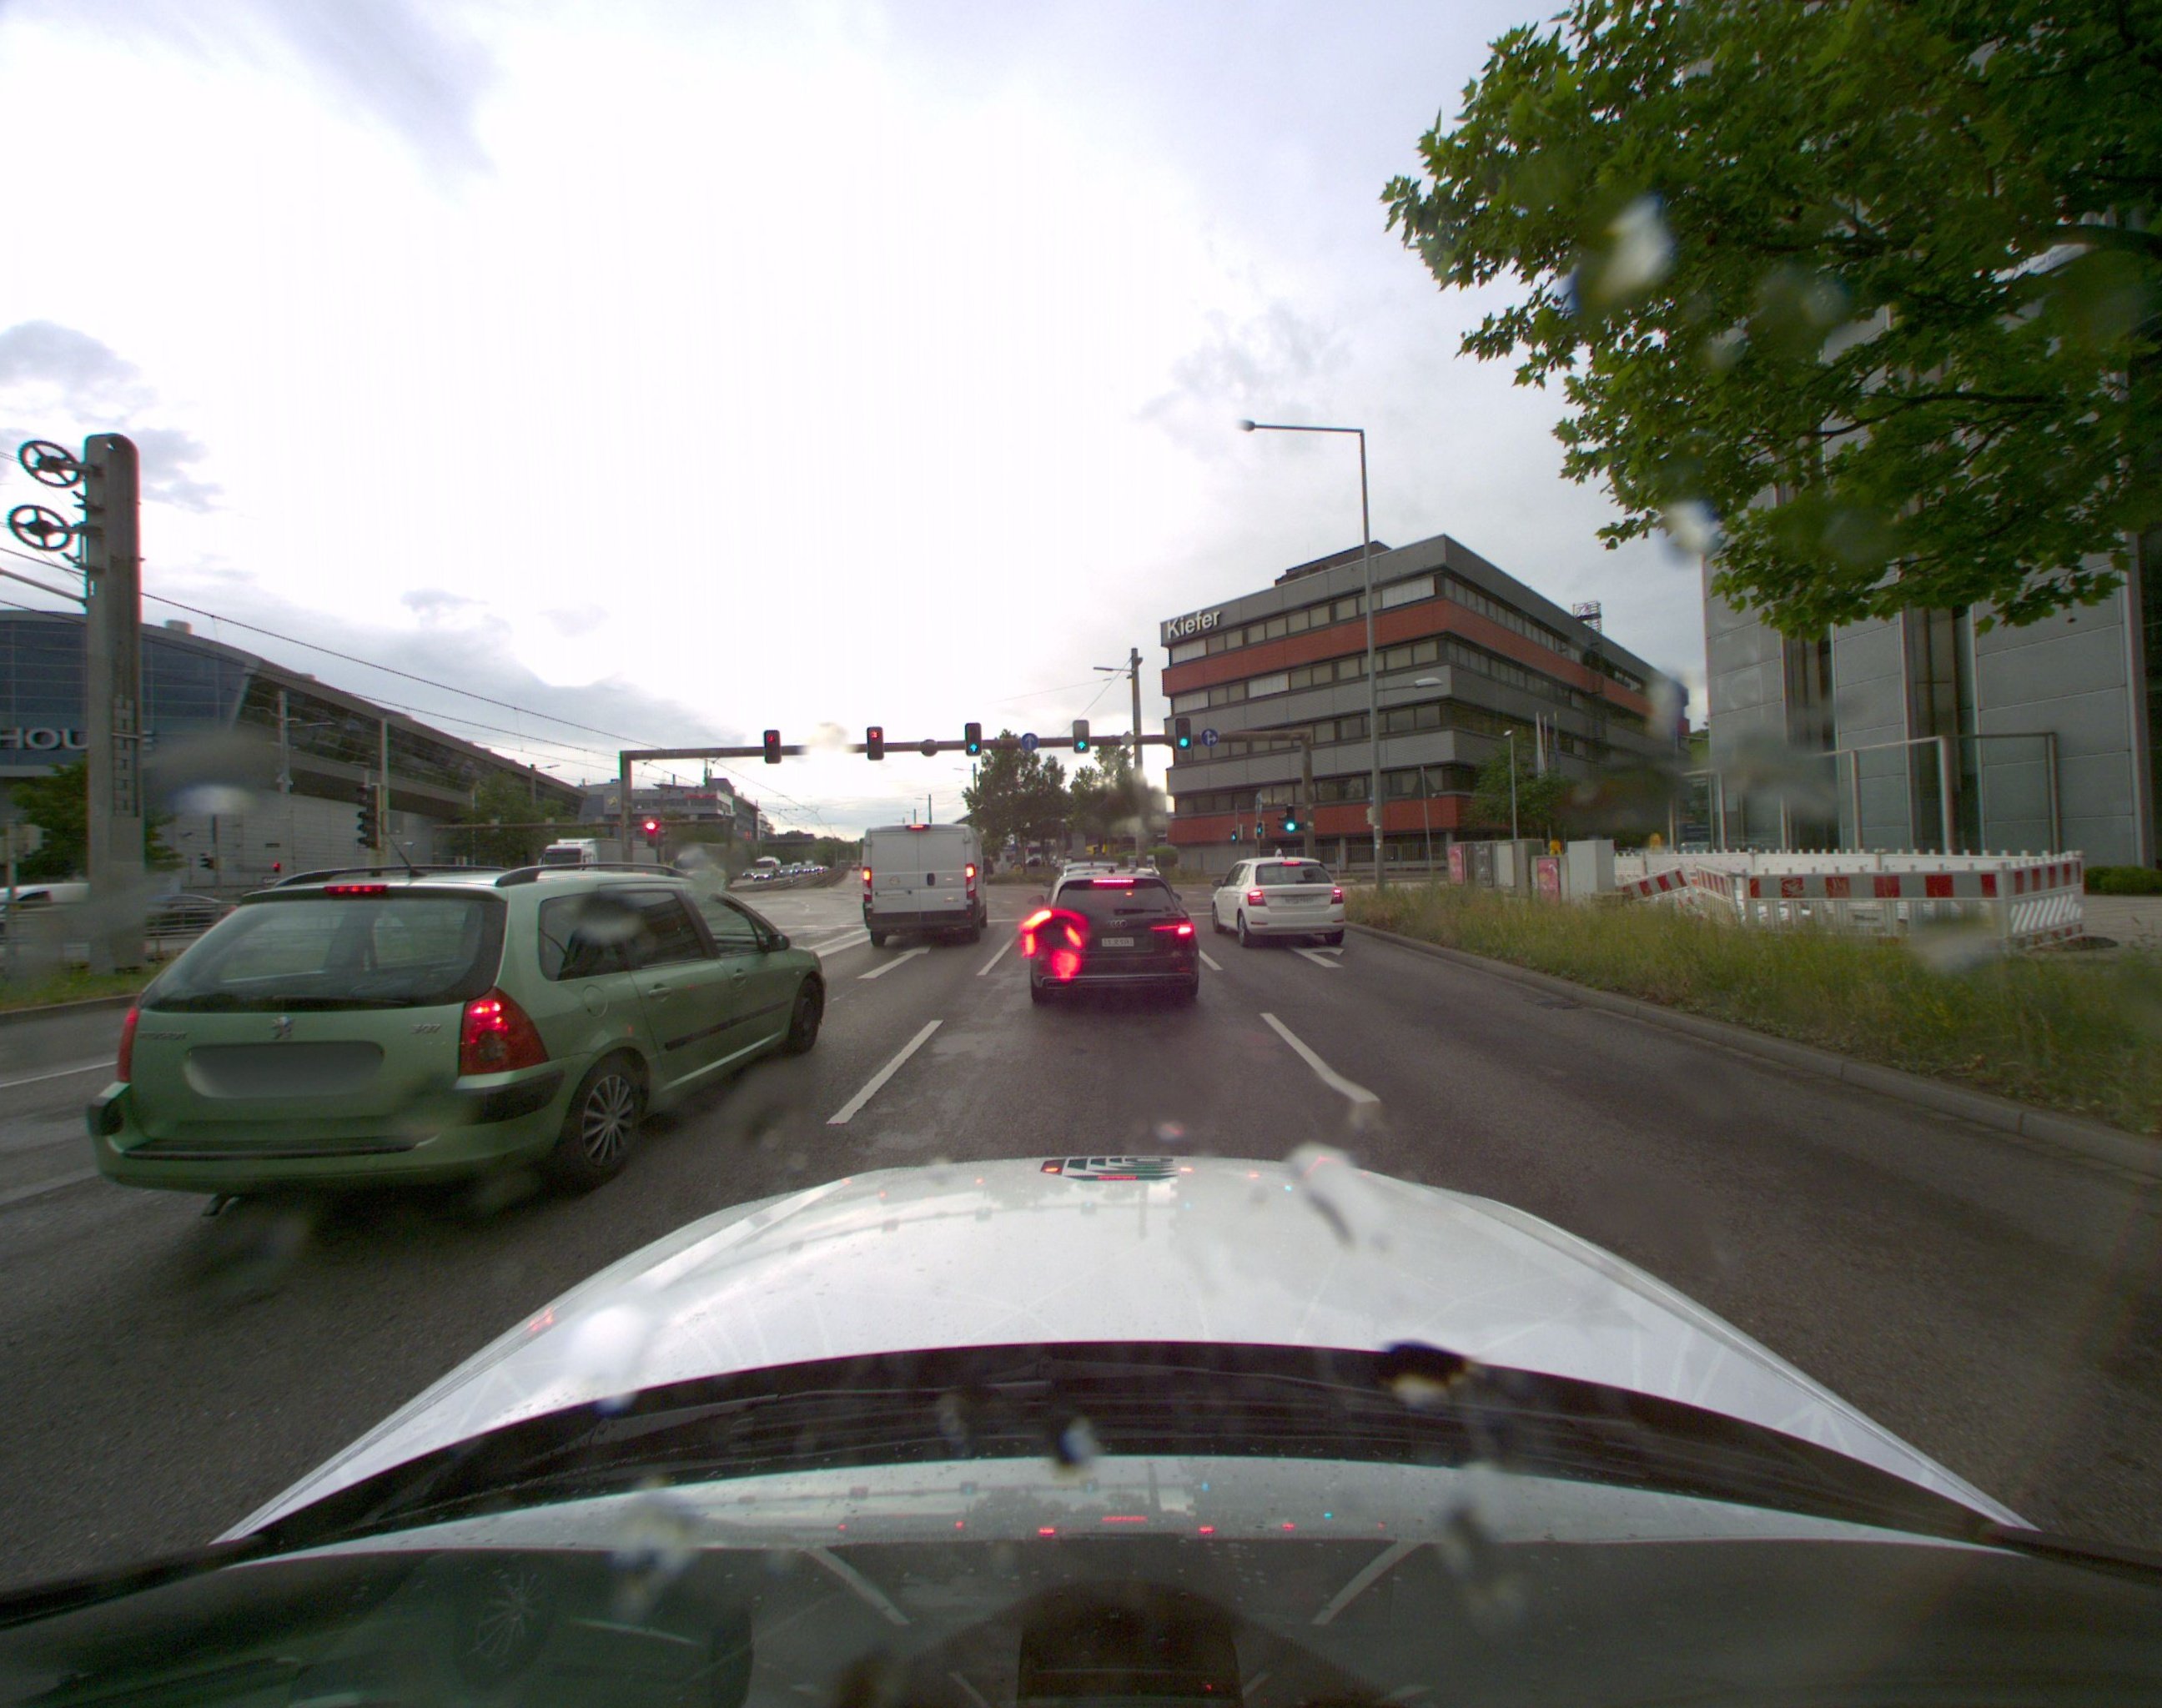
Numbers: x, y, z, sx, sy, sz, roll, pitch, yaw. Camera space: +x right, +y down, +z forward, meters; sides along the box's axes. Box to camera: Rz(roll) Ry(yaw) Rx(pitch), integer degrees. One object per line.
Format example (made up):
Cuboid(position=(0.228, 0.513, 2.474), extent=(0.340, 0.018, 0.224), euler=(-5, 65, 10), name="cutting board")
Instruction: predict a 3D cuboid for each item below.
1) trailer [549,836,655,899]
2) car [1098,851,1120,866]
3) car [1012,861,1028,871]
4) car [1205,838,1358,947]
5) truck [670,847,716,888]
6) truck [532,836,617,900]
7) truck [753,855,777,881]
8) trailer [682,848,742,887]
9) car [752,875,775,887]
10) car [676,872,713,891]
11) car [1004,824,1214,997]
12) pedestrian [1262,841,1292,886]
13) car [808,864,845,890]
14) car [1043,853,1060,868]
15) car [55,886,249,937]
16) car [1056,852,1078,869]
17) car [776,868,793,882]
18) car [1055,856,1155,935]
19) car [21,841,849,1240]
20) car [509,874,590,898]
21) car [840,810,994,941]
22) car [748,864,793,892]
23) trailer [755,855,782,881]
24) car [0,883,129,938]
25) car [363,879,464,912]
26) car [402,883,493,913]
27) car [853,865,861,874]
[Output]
Cuboid(position=(-35.036, 0.963, 60.246), extent=(2.795, 4.107, 11.402), euler=(-2, 0, -10), name="trailer")
Cuboid(position=(3.885, 0.597, 115.078), extent=(1.876, 2.014, 3.749), euler=(1, -2, -19), name="car")
Cuboid(position=(-10.085, 2.042, 134.522), extent=(1.795, 1.591, 3.977), euler=(-2, -1, -16), name="car")
Cuboid(position=(3.432, 0.649, 14.712), extent=(1.822, 1.656, 4.000), euler=(-1, -1, 1), name="car")
Cuboid(position=(-41.620, 1.449, 87.645), extent=(2.665, 4.130, 6.167), euler=(-2, -1, -9), name="truck")
Cuboid(position=(-34.149, 0.937, 55.161), extent=(2.833, 3.996, 5.964), euler=(-2, 0, -11), name="truck")
Cuboid(position=(-48.140, 2.134, 124.095), extent=(2.753, 3.805, 5.380), euler=(-3, -1, -17), name="truck")
Cuboid(position=(-42.560, 1.603, 94.544), extent=(2.648, 4.125, 12.710), euler=(-2, -1, -8), name="trailer")
Cuboid(position=(-41.285, 3.500, 105.855), extent=(1.903, 1.555, 4.549), euler=(1, -1, -11), name="car")
Cuboid(position=(-34.314, 2.408, 72.413), extent=(1.887, 1.652, 4.081), euler=(1, -1, -10), name="car")
Cuboid(position=(0.329, 0.591, 9.817), extent=(1.986, 1.637, 4.001), euler=(-1, -2, 2), name="car")
Cuboid(position=(9.538, 0.445, 39.700), extent=(1.139, 2.125, 1.223), euler=(-3, 1, 1), name="pedestrian")
Cuboid(position=(-20.713, 1.806, 66.473), extent=(1.768, 2.014, 4.344), euler=(0, 0, -2), name="car")
Cuboid(position=(-4.110, 0.939, 111.918), extent=(1.681, 2.014, 3.524), euler=(1, -2, -14), name="car")
Cuboid(position=(-30.506, 1.842, 26.952), extent=(1.781, 1.503, 3.998), euler=(0, -1, 0), name="car")
Cuboid(position=(-1.769, 0.871, 102.996), extent=(1.995, 2.032, 3.983), euler=(-2, 0, -12), name="car")
Cuboid(position=(-45.697, 3.219, 125.433), extent=(1.997, 1.837, 4.884), euler=(-1, 0, -15), name="car")
Cuboid(position=(0.572, 0.836, 17.598), extent=(1.886, 1.465, 3.912), euler=(-2, -1, 3), name="car")
Cuboid(position=(-3.030, 0.740, 5.240), extent=(1.688, 1.468, 4.404), euler=(0, -1, 1), name="car")
Cuboid(position=(-29.025, 1.725, 44.644), extent=(1.906, 1.264, 4.404), euler=(0, -1, -6), name="car")
Cuboid(position=(-3.137, 0.446, 16.770), extent=(2.440, 2.294, 4.897), euler=(0, -1, -4), name="car")
Cuboid(position=(-23.400, 1.755, 61.548), extent=(1.768, 2.014, 4.344), euler=(0, 0, -2), name="car")
Cuboid(position=(-49.761, 2.348, 129.943), extent=(2.730, 3.854, 11.168), euler=(-3, -1, -15), name="trailer")
Cuboid(position=(-34.084, 1.800, 26.400), extent=(1.567, 1.627, 4.081), euler=(0, -1, 0), name="car")
Cuboid(position=(-31.317, 1.915, 38.366), extent=(1.738, 1.462, 4.140), euler=(1, -1, -8), name="car")
Cuboid(position=(-36.356, 2.490, 46.911), extent=(1.989, 1.628, 4.314), euler=(0, -1, -3), name="car")
Cuboid(position=(-54.051, 3.770, 196.578), extent=(1.775, 2.014, 4.327), euler=(1, -2, -13), name="car")
